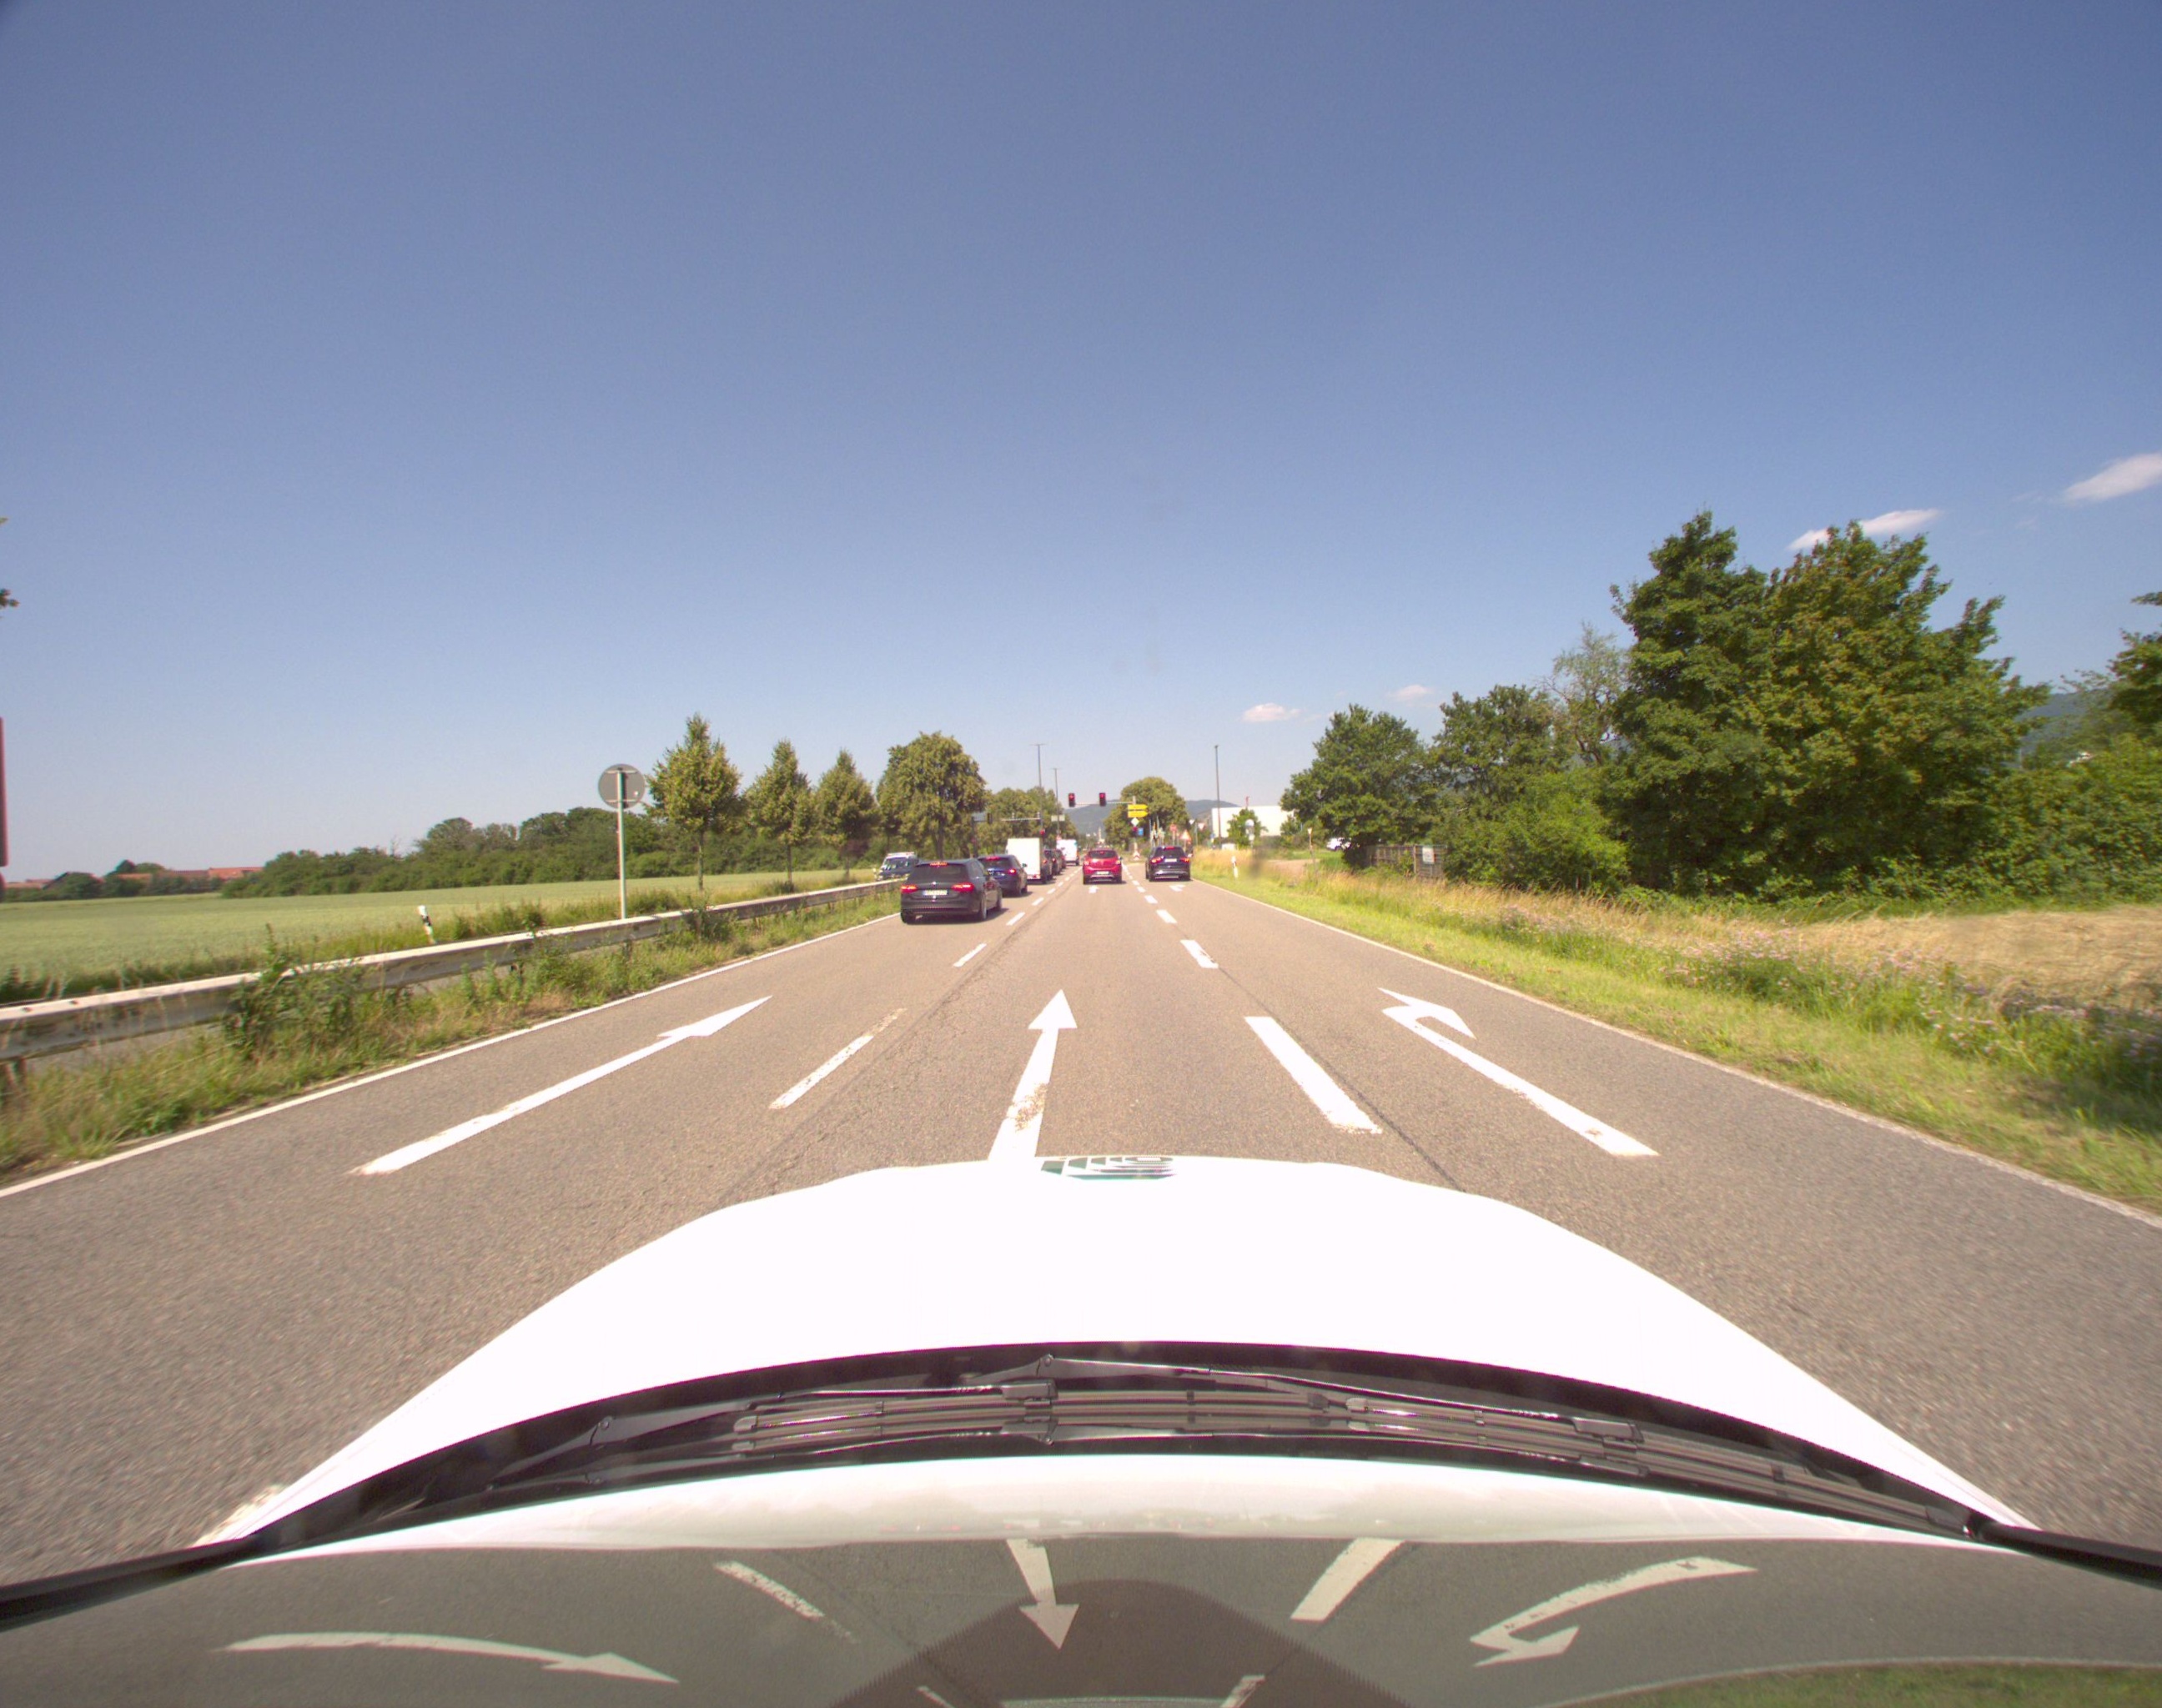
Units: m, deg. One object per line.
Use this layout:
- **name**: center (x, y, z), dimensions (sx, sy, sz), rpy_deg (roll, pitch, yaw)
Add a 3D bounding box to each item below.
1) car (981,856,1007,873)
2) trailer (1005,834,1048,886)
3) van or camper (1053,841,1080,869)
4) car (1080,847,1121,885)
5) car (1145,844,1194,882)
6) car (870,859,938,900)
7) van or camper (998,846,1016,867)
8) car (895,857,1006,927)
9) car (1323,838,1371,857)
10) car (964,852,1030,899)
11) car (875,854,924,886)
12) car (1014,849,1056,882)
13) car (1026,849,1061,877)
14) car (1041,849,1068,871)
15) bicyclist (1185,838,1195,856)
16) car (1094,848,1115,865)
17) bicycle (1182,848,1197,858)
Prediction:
- **car**: center (-8.477, 1.027, 79.791), dimensions (1.872, 1.454, 4.505), rpy_deg (-3, 0, 1)
- **trailer**: center (-2.449, 0.240, 37.456), dimensions (1.495, 2.173, 4.175), rpy_deg (-2, 0, 1)
- **van or camper**: center (-1.283, 0.077, 72.990), dimensions (2.173, 2.302, 4.825), rpy_deg (-2, 0, -1)
- **car**: center (0.921, 0.502, 36.619), dimensions (1.742, 1.575, 3.679), rpy_deg (0, 0, 3)
- **car**: center (4.036, 0.396, 37.796), dimensions (1.985, 1.616, 4.343), rpy_deg (-1, 0, 3)
- **car**: center (-8.034, 1.119, 37.426), dimensions (1.986, 1.603, 4.481), rpy_deg (-3, 0, 1)
- **van or camper**: center (-11.407, 0.376, 125.887), dimensions (2.255, 3.099, 5.695), rpy_deg (-2, 0, 0)
- **car**: center (-2.934, 0.802, 19.265), dimensions (1.734, 1.380, 4.457), rpy_deg (-1, 0, 2)
- **car**: center (28.520, -0.703, 87.374), dimensions (4.470, 1.868, 1.887), rpy_deg (-2, 0, 3)
- **car**: center (-2.815, 0.682, 28.017), dimensions (1.711, 1.465, 4.031), rpy_deg (-1, 0, 1)
- **car**: center (-11.978, 1.009, 54.020), dimensions (1.986, 1.951, 4.831), rpy_deg (-3, 0, 1)
- **car**: center (-2.288, 0.557, 41.593), dimensions (1.739, 1.503, 4.364), rpy_deg (-2, 0, 1)
- **car**: center (-2.177, 0.507, 48.406), dimensions (1.716, 1.575, 3.895), rpy_deg (-1, 0, 2)
- **car**: center (-2.015, 0.443, 62.672), dimensions (1.717, 1.600, 3.957), rpy_deg (-1, 0, 2)
- **bicyclist**: center (11.020, -0.712, 82.499), dimensions (0.802, 1.771, 0.806), rpy_deg (-2, 0, -9)
- **car**: center (2.152, 0.200, 73.011), dimensions (1.742, 1.458, 3.680), rpy_deg (-2, 1, 4)
- **bicycle**: center (11.028, -0.094, 82.631), dimensions (0.761, 0.915, 2.771), rpy_deg (-2, 0, -8)
